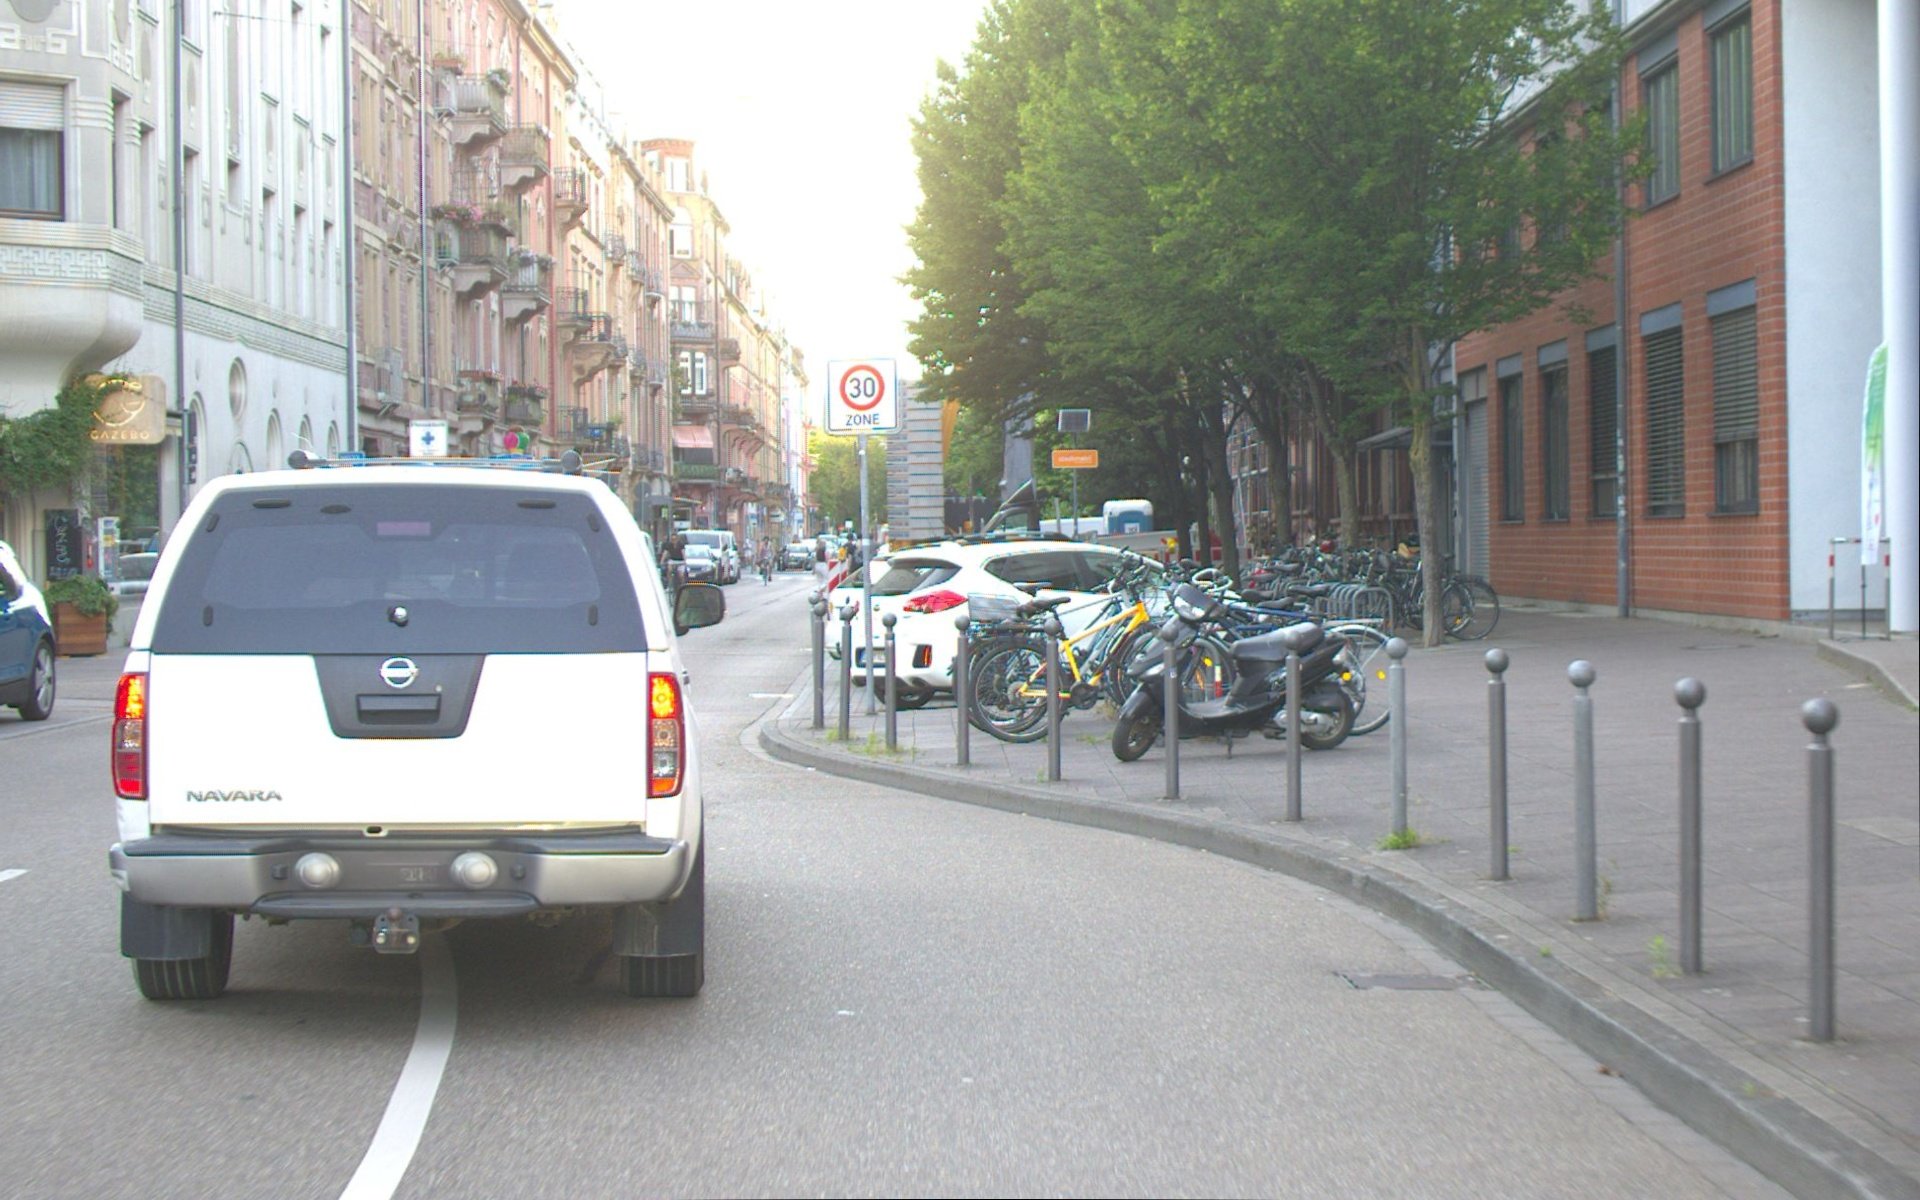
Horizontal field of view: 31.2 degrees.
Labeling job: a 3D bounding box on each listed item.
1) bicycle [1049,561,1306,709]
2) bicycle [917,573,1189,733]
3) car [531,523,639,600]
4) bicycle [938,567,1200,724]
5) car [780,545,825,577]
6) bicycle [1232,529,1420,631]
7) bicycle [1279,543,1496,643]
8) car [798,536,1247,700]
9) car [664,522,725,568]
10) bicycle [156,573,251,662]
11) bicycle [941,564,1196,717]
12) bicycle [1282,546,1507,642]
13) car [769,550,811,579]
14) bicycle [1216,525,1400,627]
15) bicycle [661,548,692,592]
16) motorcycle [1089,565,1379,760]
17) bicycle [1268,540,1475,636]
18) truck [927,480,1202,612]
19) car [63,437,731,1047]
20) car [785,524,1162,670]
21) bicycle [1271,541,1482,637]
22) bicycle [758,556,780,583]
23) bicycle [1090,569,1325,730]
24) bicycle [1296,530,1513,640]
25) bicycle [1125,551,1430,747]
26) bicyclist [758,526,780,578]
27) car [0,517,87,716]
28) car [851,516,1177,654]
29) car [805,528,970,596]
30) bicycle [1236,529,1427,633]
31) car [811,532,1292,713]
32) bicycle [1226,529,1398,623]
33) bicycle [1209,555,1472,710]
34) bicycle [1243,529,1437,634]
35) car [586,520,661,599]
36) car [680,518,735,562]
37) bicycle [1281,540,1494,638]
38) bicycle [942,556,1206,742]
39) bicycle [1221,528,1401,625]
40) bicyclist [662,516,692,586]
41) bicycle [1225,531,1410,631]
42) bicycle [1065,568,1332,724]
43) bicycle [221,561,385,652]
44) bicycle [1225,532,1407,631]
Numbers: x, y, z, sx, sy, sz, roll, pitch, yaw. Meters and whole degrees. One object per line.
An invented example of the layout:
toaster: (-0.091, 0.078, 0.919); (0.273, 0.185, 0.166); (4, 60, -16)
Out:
bicycle: (1.686, 0.266, 26.790); (1.911, 1.062, 0.524); (-2, 1, -2)
bicycle: (0.648, 0.366, 24.285); (1.857, 1.035, 0.472); (-2, 1, -2)
car: (-8.274, -0.873, 76.155); (1.993, 1.647, 4.000); (0, 1, -1)
bicycle: (0.795, 0.332, 25.307); (1.857, 1.062, 0.446); (-2, 1, -2)
car: (-7.758, -1.944, 169.495); (1.847, 1.546, 4.355); (0, 1, 2)
bicycle: (5.053, -0.282, 47.582); (2.534, 1.375, 0.599); (-1, 1, 2)
bicycle: (5.121, -0.087, 41.247); (2.534, 1.162, 0.562); (-1, 1, 2)
car: (0.631, 0.156, 33.599); (3.987, 1.468, 1.875); (-1, 0, -33)
car: (-8.980, -1.869, 116.542); (1.791, 1.525, 4.000); (0, 1, 0)
bicycle: (-9.229, 0.200, 42.006); (0.423, 1.009, 1.717); (0, 2, 13)
bicycle: (0.812, 0.300, 25.926); (1.857, 1.062, 0.446); (-2, 1, -2)
bicycle: (5.119, -0.077, 40.614); (2.534, 0.956, 0.680); (-4, 1, 2)
car: (-9.153, -1.914, 184.925); (1.847, 1.546, 4.355); (0, 1, 3)
bicycle: (5.095, -0.349, 50.431); (2.534, 1.240, 0.599); (-6, 1, 2)
bicycle: (-6.864, -0.731, 83.377); (0.614, 1.036, 1.904); (-1, 1, -1)
motorcycle: (1.694, 0.377, 21.344); (1.644, 1.098, 0.647); (-3, 1, -9)
bicycle: (5.149, -0.154, 43.119); (2.534, 1.162, 0.562); (-1, 1, 2)
truck: (2.435, -1.241, 80.503); (6.320, 2.966, 2.264); (0, -2, 1)
car: (-1.807, 0.381, 12.437); (1.933, 1.788, 4.622); (0, 1, -4)
car: (0.171, -0.071, 38.912); (3.987, 1.532, 1.636); (-1, 2, -31)
bicycle: (5.141, -0.139, 42.508); (2.534, 1.162, 0.562); (-1, 1, 2)
bicycle: (-6.889, -1.098, 124.134); (0.800, 0.944, 2.005); (0, 1, -3)
bicycle: (1.703, 0.334, 23.782); (1.539, 1.035, 0.472); (-2, 1, -2)
bicycle: (5.081, -0.178, 39.405); (2.346, 1.095, 0.680); (-4, 1, 2)
bicycle: (2.064, 0.313, 22.496); (1.859, 1.142, 0.659); (-4, 1, -1)
bicyclist: (-6.886, -1.741, 124.070); (0.800, 1.843, 0.944); (0, 1, -3)
car: (-8.287, 0.122, 27.194); (1.640, 1.550, 4.004); (0, 1, 2)
car: (0.670, -0.203, 41.687); (3.594, 1.575, 1.716); (-1, 1, -33)
car: (-1.908, -1.017, 91.275); (4.196, 1.774, 1.819); (0, 1, 5)
bicycle: (5.056, -0.266, 46.837); (2.534, 1.375, 0.599); (-1, 1, 2)
car: (0.842, 0.167, 31.062); (3.987, 1.501, 1.770); (-1, 1, -30)
bicycle: (5.287, -0.367, 51.735); (2.534, 1.375, 0.599); (-1, 1, 2)
bicycle: (2.831, 0.235, 25.642); (1.857, 1.062, 0.524); (-2, 1, -2)
bicycle: (5.090, -0.254, 46.123); (2.534, 1.375, 0.599); (-1, 1, 2)
car: (-8.503, -1.036, 87.121); (1.559, 1.914, 3.856); (1, 1, -1)
car: (-8.979, -2.136, 122.522); (1.710, 1.525, 4.000); (0, 1, -1)
bicycle: (5.203, -0.140, 41.908); (2.534, 1.162, 0.562); (-1, 1, 2)
bicycle: (0.762, 0.324, 23.216); (1.707, 1.172, 0.472); (-2, 1, -2)
bicycle: (5.065, -0.340, 49.709); (2.534, 1.375, 0.599); (-1, 1, 2)
bicyclist: (-6.865, -1.180, 83.381); (0.603, 1.679, 1.142); (-1, 1, 0)
bicycle: (5.013, -0.271, 48.280); (2.534, 1.375, 0.599); (-1, 1, 2)
bicycle: (1.719, 0.328, 24.872); (1.857, 1.035, 0.402); (-2, 1, -2)
bicycle: (-8.232, 0.076, 43.067); (2.113, 1.091, 0.500); (1, 2, 24)
bicycle: (5.066, -0.264, 49.001); (2.534, 1.375, 0.599); (-1, 1, 2)
